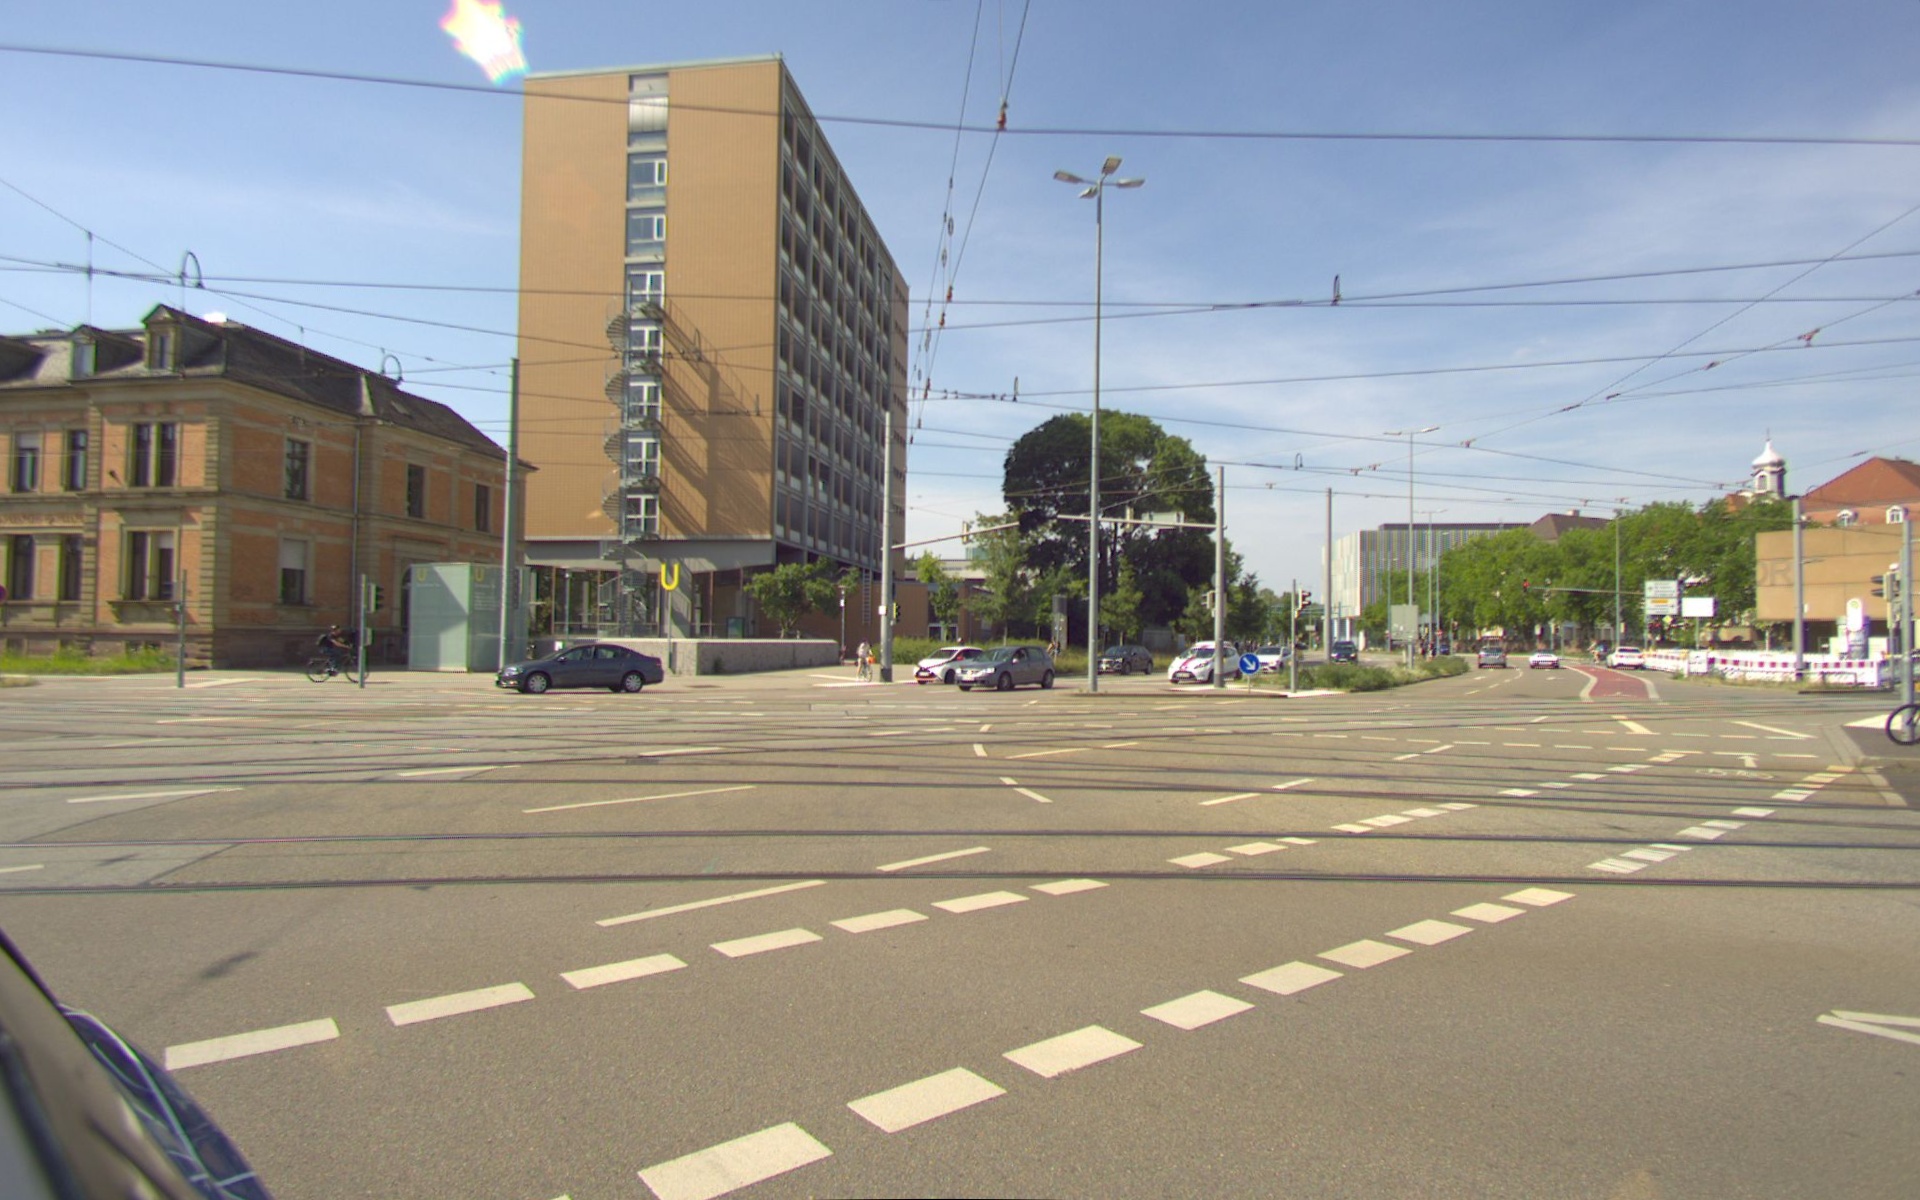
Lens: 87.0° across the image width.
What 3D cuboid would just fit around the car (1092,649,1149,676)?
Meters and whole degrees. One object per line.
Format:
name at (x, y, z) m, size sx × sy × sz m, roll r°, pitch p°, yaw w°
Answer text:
car at (8.101, 3.115, 51.004) m, size 1.407 × 1.305 × 3.537 m, roll -1°, pitch -3°, yaw 36°

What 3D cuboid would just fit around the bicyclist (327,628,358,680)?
bicyclist at (-19.855, 1.741, 32.530) m, size 0.769 × 1.636 × 0.671 m, roll 2°, pitch -2°, yaw -28°

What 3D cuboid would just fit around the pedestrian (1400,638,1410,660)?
pedestrian at (34.805, 3.814, 79.085) m, size 0.541 × 1.686 × 0.743 m, roll -2°, pitch -3°, yaw 37°

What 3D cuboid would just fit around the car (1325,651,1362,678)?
car at (26.906, 4.497, 70.931) m, size 1.956 × 1.807 × 3.961 m, roll -1°, pitch -3°, yaw 29°

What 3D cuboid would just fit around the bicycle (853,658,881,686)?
bicycle at (-3.736, 2.874, 40.605) m, size 0.704 × 1.023 × 1.925 m, roll 2°, pitch -1°, yaw -18°

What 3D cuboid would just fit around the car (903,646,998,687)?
car at (-0.336, 2.607, 39.943) m, size 1.681 × 1.486 × 3.709 m, roll -4°, pitch -4°, yaw 40°

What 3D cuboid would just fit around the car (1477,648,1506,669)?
car at (35.478, 3.894, 67.665) m, size 1.591 × 1.296 × 3.963 m, roll -3°, pitch -4°, yaw 27°

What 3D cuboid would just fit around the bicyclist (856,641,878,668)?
bicyclist at (-3.743, 2.195, 40.679) m, size 0.704 × 1.036 × 0.919 m, roll 2°, pitch -1°, yaw -18°

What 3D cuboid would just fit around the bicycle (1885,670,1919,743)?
bicycle at (15.517, 1.671, 15.502) m, size 1.841 × 1.092 × 0.744 m, roll 1°, pitch -2°, yaw 29°

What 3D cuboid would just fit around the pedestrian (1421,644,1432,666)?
pedestrian at (36.189, 4.267, 78.483) m, size 0.643 × 1.686 × 0.742 m, roll -2°, pitch -3°, yaw 38°

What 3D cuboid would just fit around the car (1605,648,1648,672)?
car at (42.435, 3.796, 64.507) m, size 1.794 × 1.431 × 3.963 m, roll -3°, pitch -4°, yaw 27°

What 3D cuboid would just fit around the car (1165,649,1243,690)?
car at (9.291, 2.580, 38.331) m, size 1.652 × 1.425 × 3.818 m, roll -1°, pitch -3°, yaw 34°

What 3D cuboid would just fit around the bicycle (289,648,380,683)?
bicycle at (-20.020, 2.097, 32.456) m, size 2.421 × 1.077 × 0.671 m, roll 2°, pitch -3°, yaw -28°

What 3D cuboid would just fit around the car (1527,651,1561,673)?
car at (37.708, 3.978, 65.417) m, size 1.591 × 1.296 × 3.963 m, roll -3°, pitch -4°, yaw 27°

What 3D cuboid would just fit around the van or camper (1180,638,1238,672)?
van or camper at (14.909, 3.278, 60.525) m, size 1.727 × 1.902 × 4.863 m, roll -1°, pitch -3°, yaw 35°

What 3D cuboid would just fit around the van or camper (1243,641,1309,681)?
van or camper at (16.308, 3.107, 52.072) m, size 1.916 × 1.902 × 4.865 m, roll -1°, pitch -3°, yaw 34°

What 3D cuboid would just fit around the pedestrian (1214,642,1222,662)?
pedestrian at (22.537, 4.547, 88.346) m, size 0.638 × 1.777 × 0.472 m, roll 1°, pitch -1°, yaw 18°

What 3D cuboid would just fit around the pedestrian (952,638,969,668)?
pedestrian at (0.016, 2.952, 56.468) m, size 0.592 × 1.677 × 0.722 m, roll 0°, pitch -2°, yaw 38°

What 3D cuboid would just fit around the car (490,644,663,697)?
car at (-11.222, 2.033, 29.740) m, size 4.454 × 1.446 × 1.639 m, roll 2°, pitch -3°, yaw -37°

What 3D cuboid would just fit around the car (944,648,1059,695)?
car at (1.416, 2.319, 33.360) m, size 1.650 × 1.435 × 4.064 m, roll -2°, pitch -3°, yaw 40°
